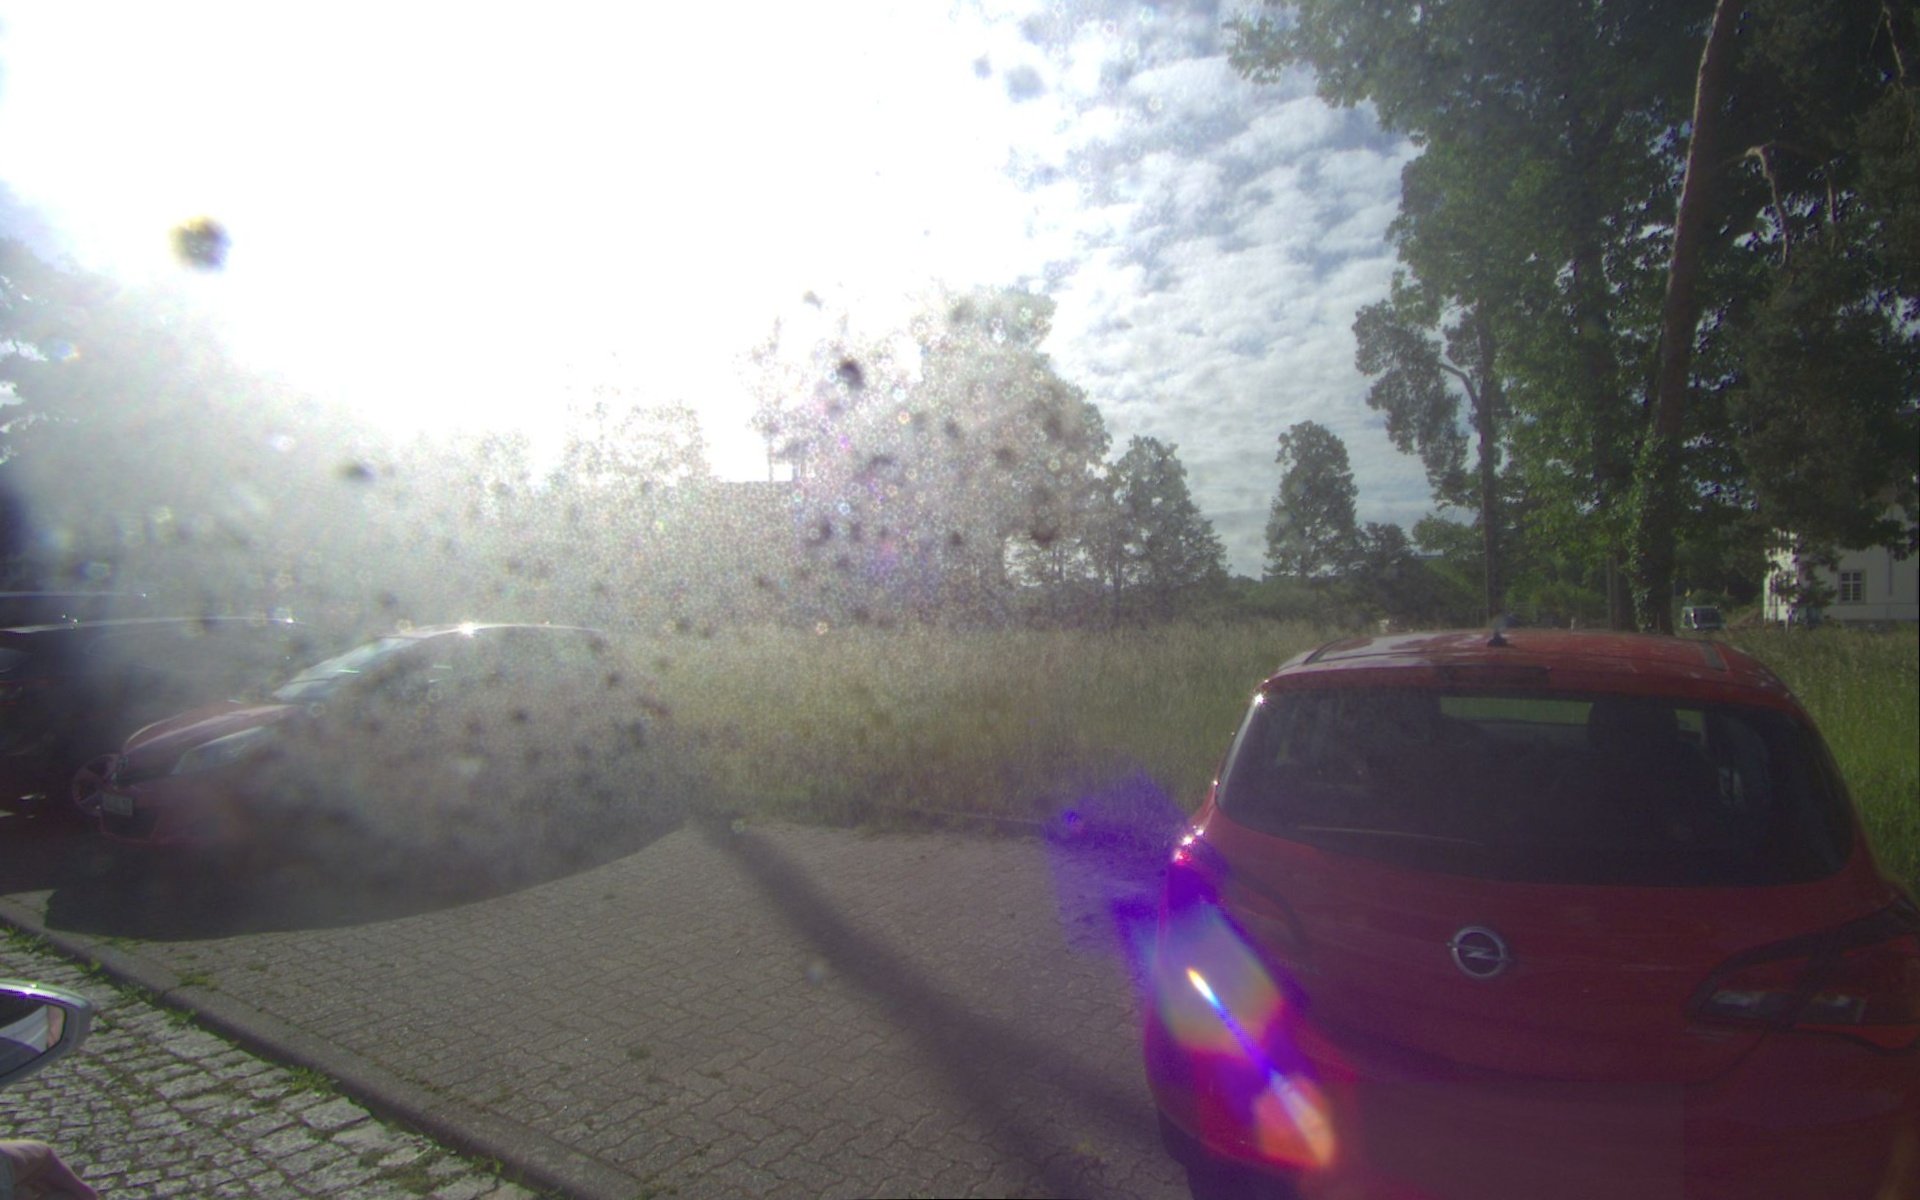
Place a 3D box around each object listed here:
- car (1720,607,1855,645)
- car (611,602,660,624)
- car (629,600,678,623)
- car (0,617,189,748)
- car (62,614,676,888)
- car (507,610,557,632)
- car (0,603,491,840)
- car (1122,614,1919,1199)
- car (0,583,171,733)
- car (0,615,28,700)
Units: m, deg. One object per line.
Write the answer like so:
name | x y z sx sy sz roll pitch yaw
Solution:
car | 50.392 1.628 61.131 2.346 2.199 5.976 0 -2 -35
car | -30.018 1.214 92.768 1.971 2.040 3.979 0 -1 32
car | -28.047 1.054 91.643 1.971 2.040 3.979 0 -1 32
car | -11.937 0.988 12.180 1.621 1.508 3.714 0 0 30
car | -4.182 0.880 7.687 1.622 1.550 3.755 0 -1 32
car | -40.215 1.985 94.185 1.971 2.040 3.979 0 -1 32
car | -6.508 0.872 8.926 1.746 1.643 3.930 0 -1 31
car | 2.075 0.827 3.547 1.622 1.498 3.819 0 0 32
car | -14.067 0.791 13.752 2.052 2.040 4.672 0 -1 29
car | -18.252 1.048 16.684 1.622 1.485 3.684 0 1 33
